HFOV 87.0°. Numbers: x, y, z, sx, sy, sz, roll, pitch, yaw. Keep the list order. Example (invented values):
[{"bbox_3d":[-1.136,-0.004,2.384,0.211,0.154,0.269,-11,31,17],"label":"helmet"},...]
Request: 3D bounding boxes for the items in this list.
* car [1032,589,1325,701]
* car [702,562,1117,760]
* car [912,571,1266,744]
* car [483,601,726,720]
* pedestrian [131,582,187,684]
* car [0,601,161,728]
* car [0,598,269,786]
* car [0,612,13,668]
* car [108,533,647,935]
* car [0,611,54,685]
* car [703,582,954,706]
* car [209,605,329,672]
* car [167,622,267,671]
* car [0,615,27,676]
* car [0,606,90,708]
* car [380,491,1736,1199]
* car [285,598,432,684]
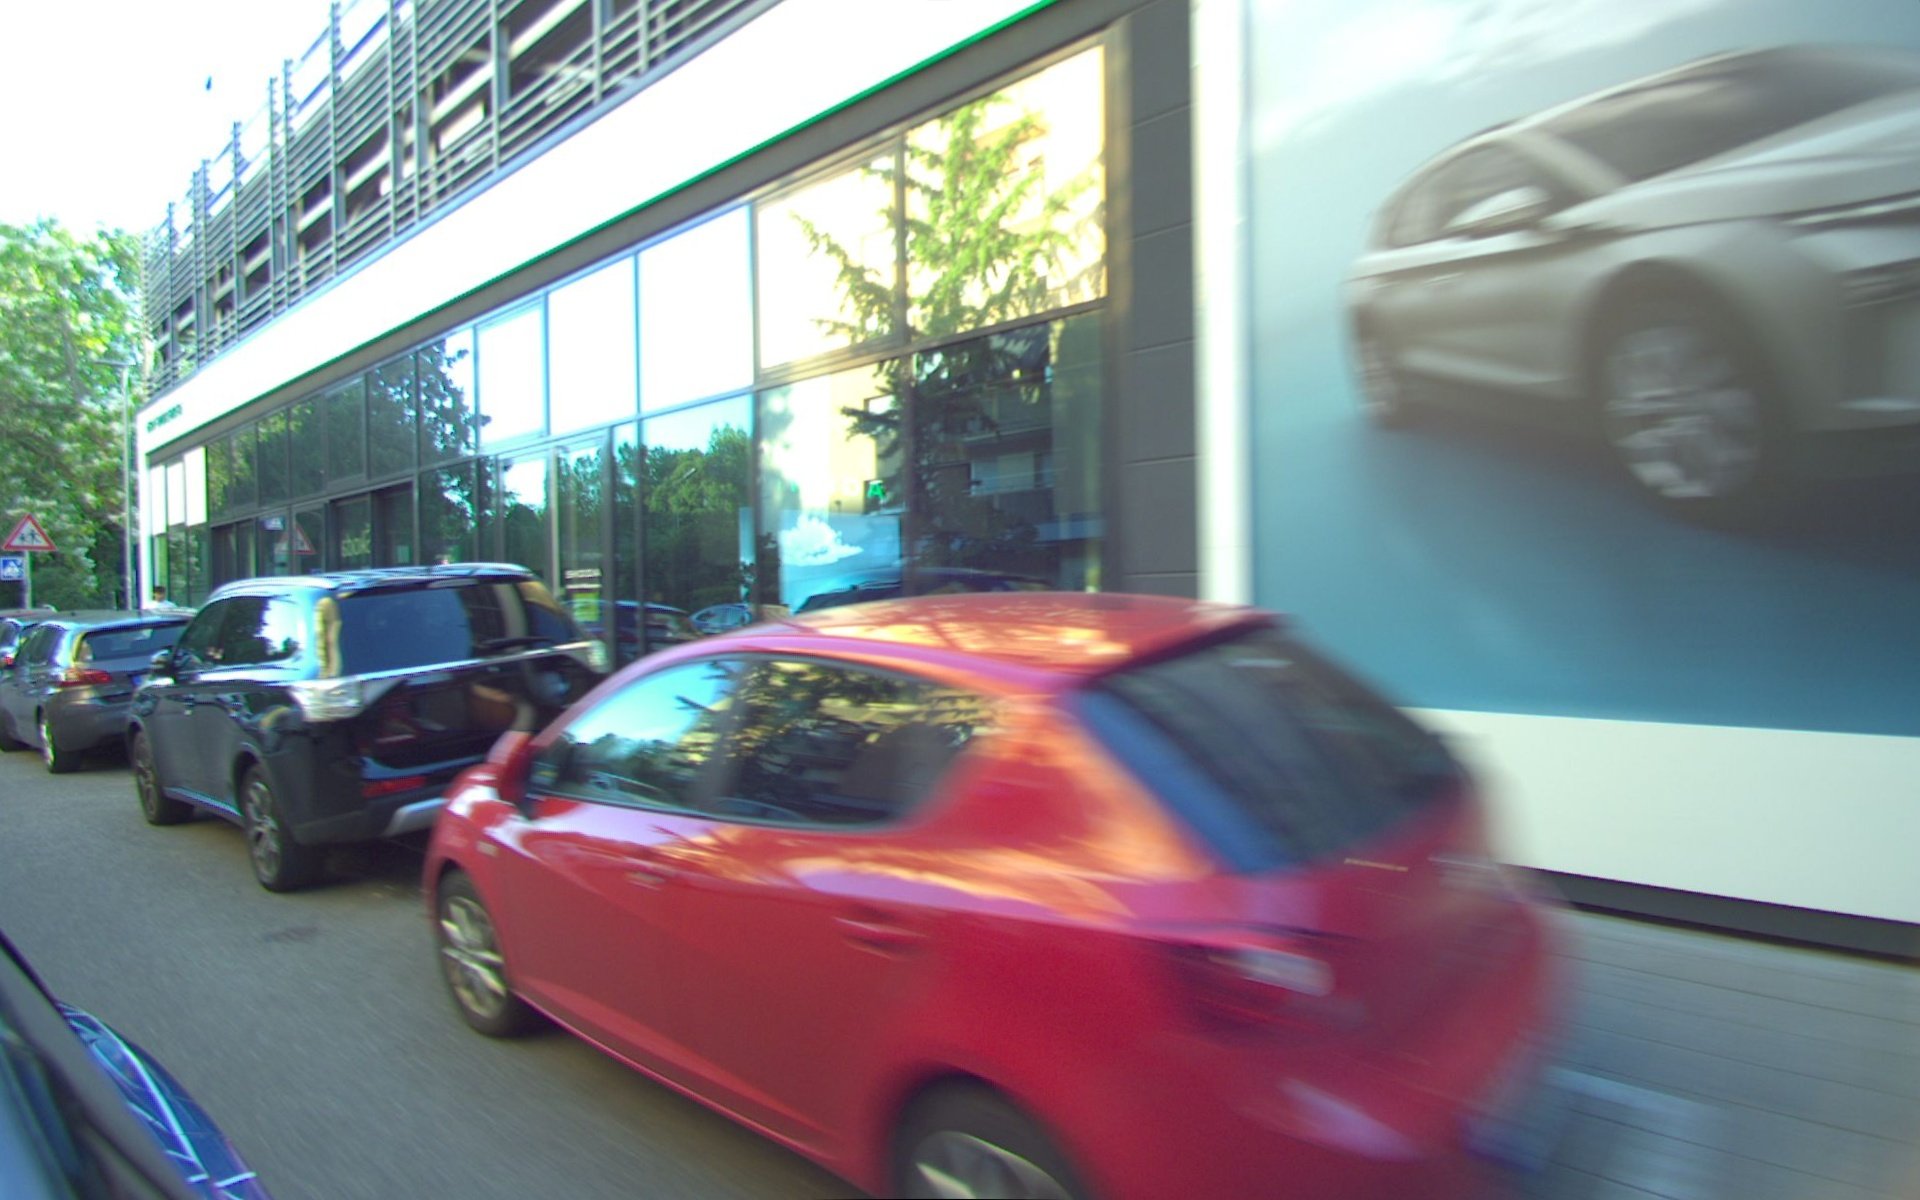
[{"bbox_3d":[3.146,0.615,15.002,3.918,1.445,1.680,-2,0,41],"label":"car"},{"bbox_3d":[-0.695,0.551,10.613,4.407,1.671,1.680,-2,-1,41],"label":"car"},{"bbox_3d":[1.382,0.566,11.659,3.736,1.671,1.680,-1,0,41],"label":"car"},{"bbox_3d":[-5.381,0.826,15.085,3.992,1.526,1.680,-2,-1,42],"label":"car"},{"bbox_3d":[-15.195,0.615,19.199,0.620,1.892,0.713,-2,-1,42],"label":"pedestrian"},{"bbox_3d":[-13.052,0.852,14.444,4.003,1.413,1.712,-2,5,40],"label":"car"},{"bbox_3d":[-9.161,0.856,10.939,4.205,1.609,1.916,-2,-1,43],"label":"car"},{"bbox_3d":[-28.493,1.208,28.658,3.876,1.525,1.647,-2,3,36],"label":"car"},{"bbox_3d":[-3.988,0.625,6.550,4.401,1.769,1.680,-2,-1,41],"label":"car"},{"bbox_3d":[-21.051,1.073,21.694,3.922,1.421,1.647,-2,5,38],"label":"car"},{"bbox_3d":[-2.195,0.631,16.238,4.130,1.738,1.680,-1,0,41],"label":"car"},{"bbox_3d":[-17.580,0.952,25.699,3.874,1.534,1.576,-2,-1,41],"label":"car"},{"bbox_3d":[-21.480,1.317,29.235,3.449,1.303,1.577,-2,0,40],"label":"car"},{"bbox_3d":[-25.133,1.216,25.586,4.410,1.426,1.646,-2,5,40],"label":"car"},{"bbox_3d":[-16.554,0.967,17.537,3.884,1.508,1.645,-1,5,42],"label":"car"},{"bbox_3d":[-0.156,0.666,3.034,3.790,1.517,1.679,-2,-1,43],"label":"car"},{"bbox_3d":[-12.983,0.842,21.756,3.874,1.662,1.576,-2,-1,41],"label":"car"}]
